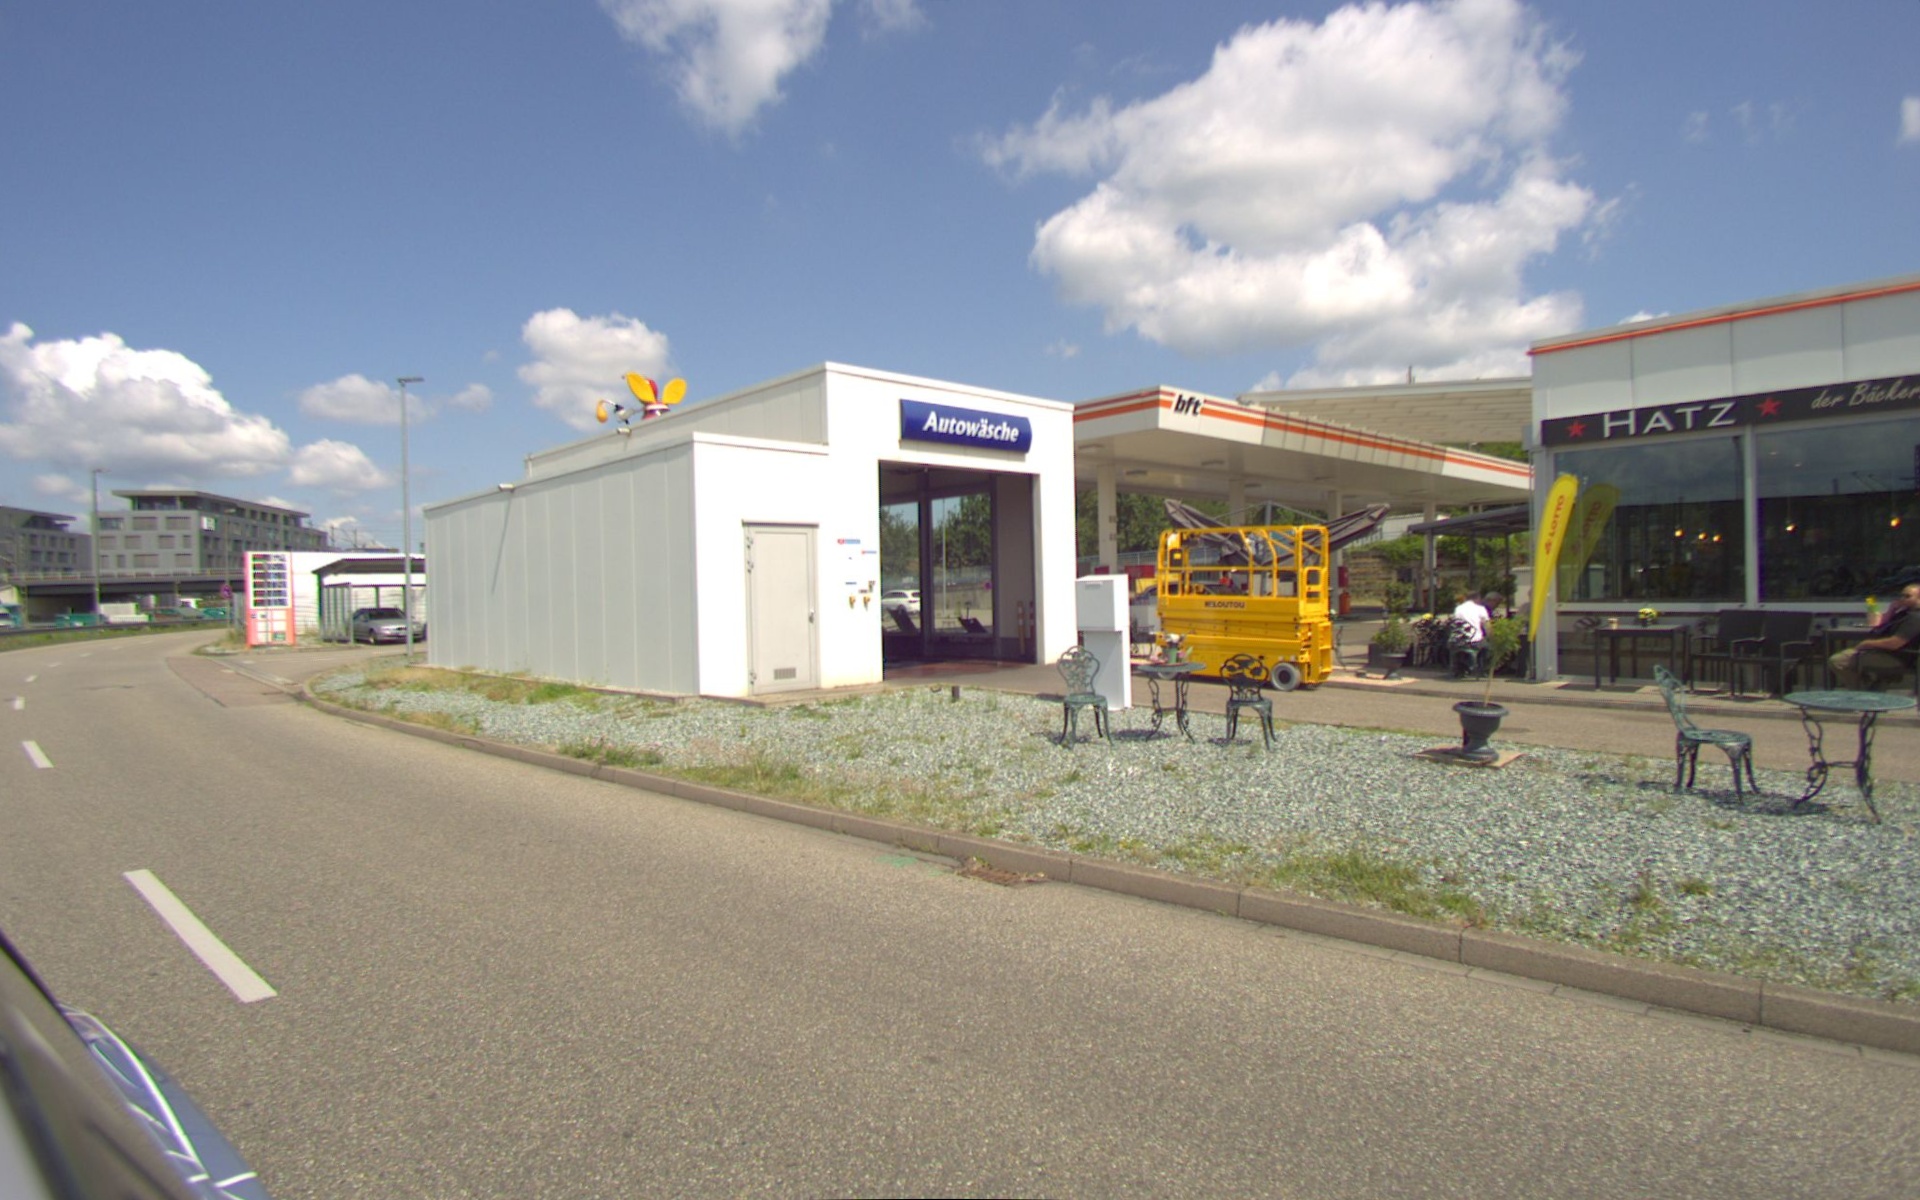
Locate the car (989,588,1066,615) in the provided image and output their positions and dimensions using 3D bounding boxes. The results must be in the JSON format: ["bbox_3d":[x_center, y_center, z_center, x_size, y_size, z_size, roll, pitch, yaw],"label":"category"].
[{"bbox_3d":[4.074,0.086,61.440,4.311,1.615,1.973,-1,0,41],"label":"car"}]

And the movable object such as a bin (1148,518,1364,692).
[{"bbox_3d":[4.019,0.035,13.976,1.050,2.168,2.706,-2,2,-44],"label":"movable object such as a bin"}]

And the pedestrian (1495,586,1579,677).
[{"bbox_3d":[7.861,0.414,13.811,0.607,1.182,0.758,-1,0,-22],"label":"pedestrian"}]

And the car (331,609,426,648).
[{"bbox_3d":[-23.331,1.104,40.509,4.790,1.388,1.897,-1,1,42],"label":"car"}]

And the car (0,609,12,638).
[{"bbox_3d":[-89.302,2.175,93.069,5.871,2.545,2.042,-1,2,37],"label":"car"}]

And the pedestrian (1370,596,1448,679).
[{"bbox_3d":[6.355,0.517,14.327,0.809,1.119,0.756,-2,0,-45],"label":"pedestrian"}]

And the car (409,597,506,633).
[{"bbox_3d":[-27.522,0.794,55.555,4.347,1.846,2.003,-1,0,-5],"label":"car"}]

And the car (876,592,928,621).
[{"bbox_3d":[-3.402,0.376,58.654,1.253,1.637,3.126,-1,0,-45],"label":"car"}]

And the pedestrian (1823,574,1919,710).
[{"bbox_3d":[9.067,0.388,9.860,0.744,1.266,0.900,-2,1,-43],"label":"pedestrian"}]

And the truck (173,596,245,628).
[{"bbox_3d":[-75.694,1.162,102.065,5.422,3.121,2.005,-1,0,-14],"label":"truck"}]

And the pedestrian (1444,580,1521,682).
[{"bbox_3d":[7.041,0.399,13.640,0.861,1.317,0.932,-1,0,29],"label":"pedestrian"}]

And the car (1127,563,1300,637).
[{"bbox_3d":[7.409,0.003,29.985,1.969,2.029,4.675,-1,0,-41],"label":"car"}]

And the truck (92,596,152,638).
[{"bbox_3d":[-72.047,1.394,86.933,8.114,3.445,2.953,-1,0,43],"label":"truck"}]

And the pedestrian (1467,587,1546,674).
[{"bbox_3d":[7.801,0.423,14.473,0.607,1.182,0.758,-1,0,-22],"label":"pedestrian"}]

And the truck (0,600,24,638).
[{"bbox_3d":[-97.051,1.949,101.297,6.853,3.672,2.632,-1,2,27],"label":"truck"}]

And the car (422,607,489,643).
[{"bbox_3d":[-20.803,1.000,41.712,3.057,1.355,1.576,-1,1,45],"label":"car"}]
